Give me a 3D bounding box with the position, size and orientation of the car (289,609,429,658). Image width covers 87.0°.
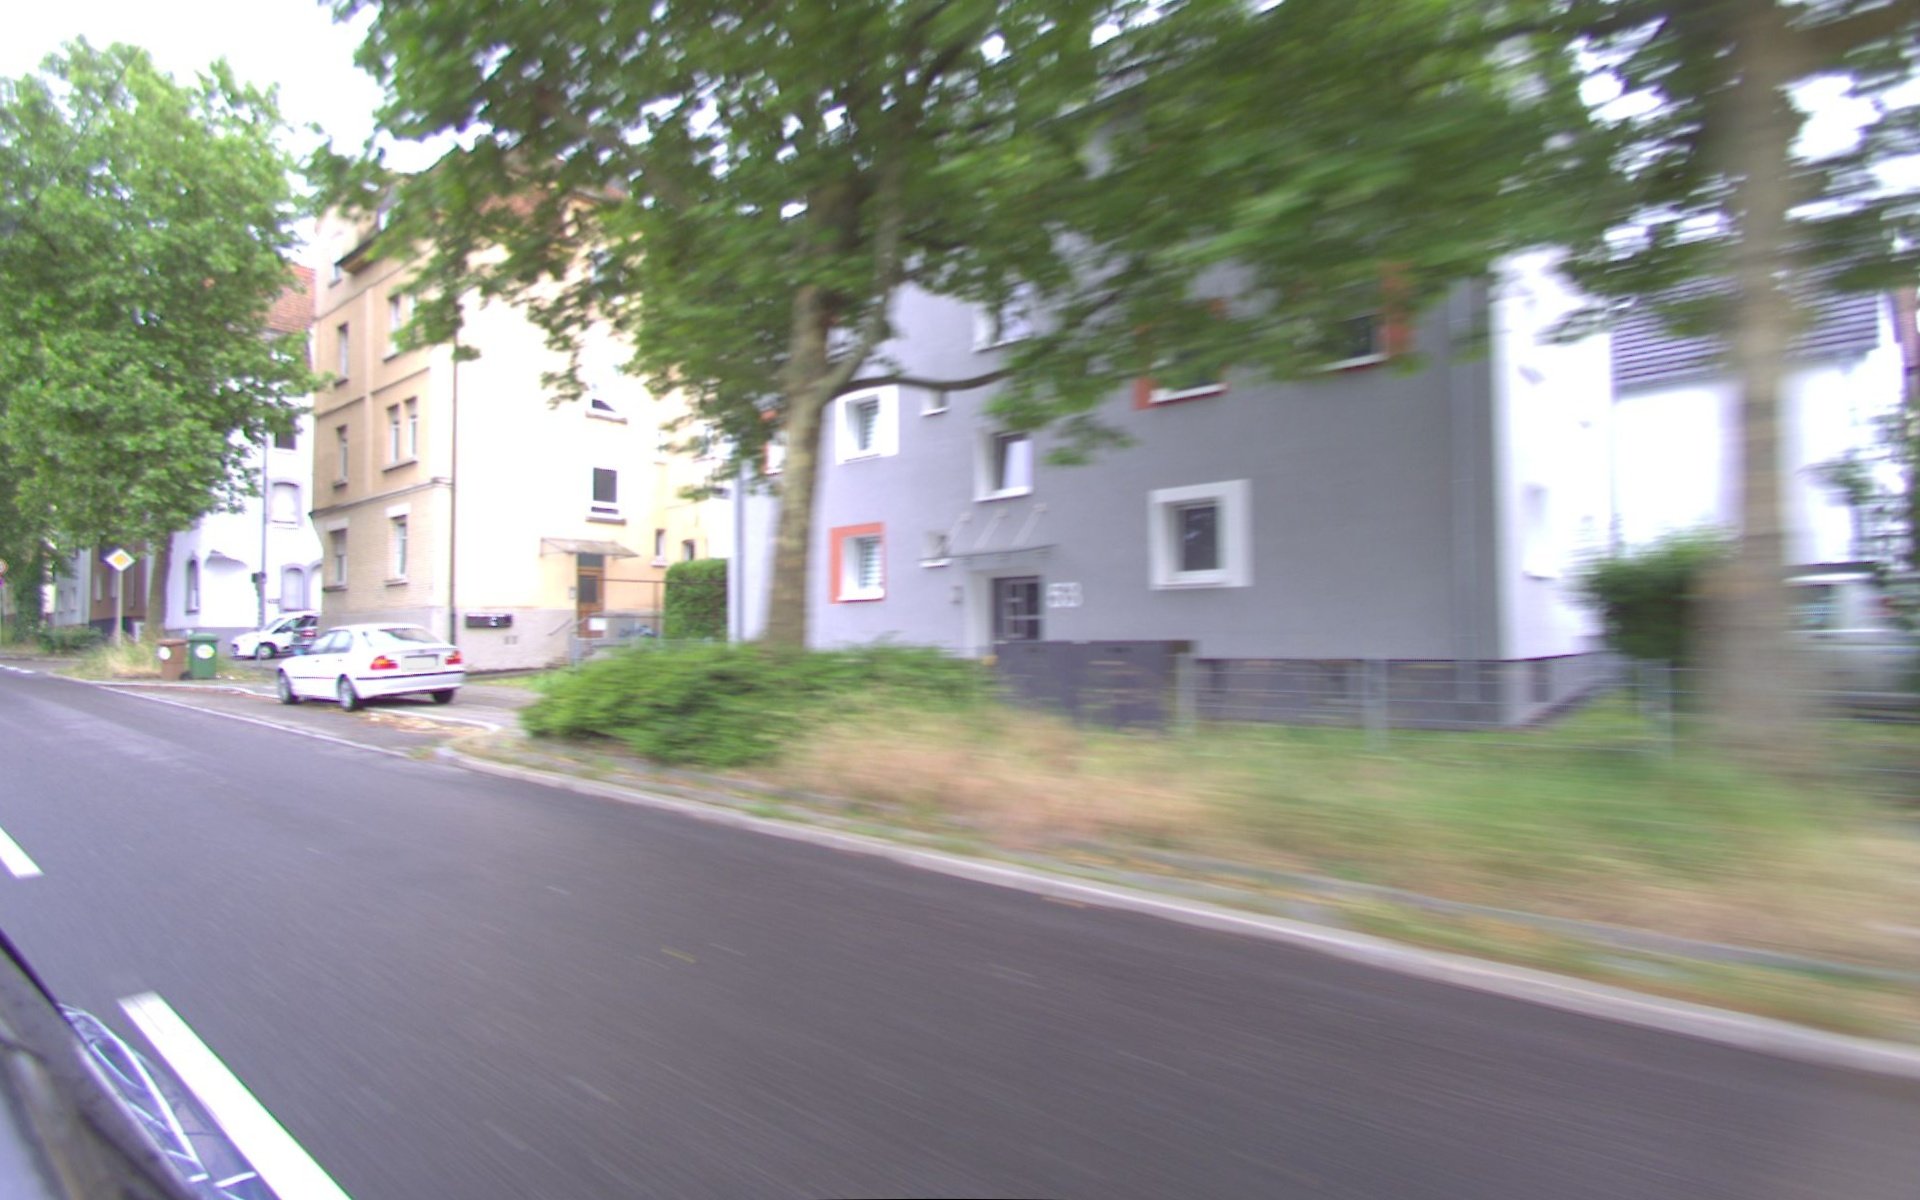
[{"bbox_3d":[-22.044,1.180,37.214,4.067,1.623,2.045,-1,0,-45],"label":"car"}]

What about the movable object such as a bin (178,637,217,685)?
[{"bbox_3d":[-17.572,1.394,23.326,0.762,1.065,0.529,0,-2,41],"label":"movable object such as a bin"}]

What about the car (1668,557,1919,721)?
[{"bbox_3d":[11.845,0.454,12.725,1.863,1.934,4.556,-1,0,-44],"label":"car"}]

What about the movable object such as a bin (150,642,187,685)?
[{"bbox_3d":[-17.868,1.434,22.845,0.581,0.935,0.507,0,-2,41],"label":"movable object such as a bin"}]

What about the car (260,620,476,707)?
[{"bbox_3d":[-10.540,1.040,17.892,4.532,1.336,1.739,-1,-1,38],"label":"car"}]

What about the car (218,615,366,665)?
[{"bbox_3d":[-26.944,1.561,40.925,2.019,1.791,4.623,-1,0,40],"label":"car"}]
